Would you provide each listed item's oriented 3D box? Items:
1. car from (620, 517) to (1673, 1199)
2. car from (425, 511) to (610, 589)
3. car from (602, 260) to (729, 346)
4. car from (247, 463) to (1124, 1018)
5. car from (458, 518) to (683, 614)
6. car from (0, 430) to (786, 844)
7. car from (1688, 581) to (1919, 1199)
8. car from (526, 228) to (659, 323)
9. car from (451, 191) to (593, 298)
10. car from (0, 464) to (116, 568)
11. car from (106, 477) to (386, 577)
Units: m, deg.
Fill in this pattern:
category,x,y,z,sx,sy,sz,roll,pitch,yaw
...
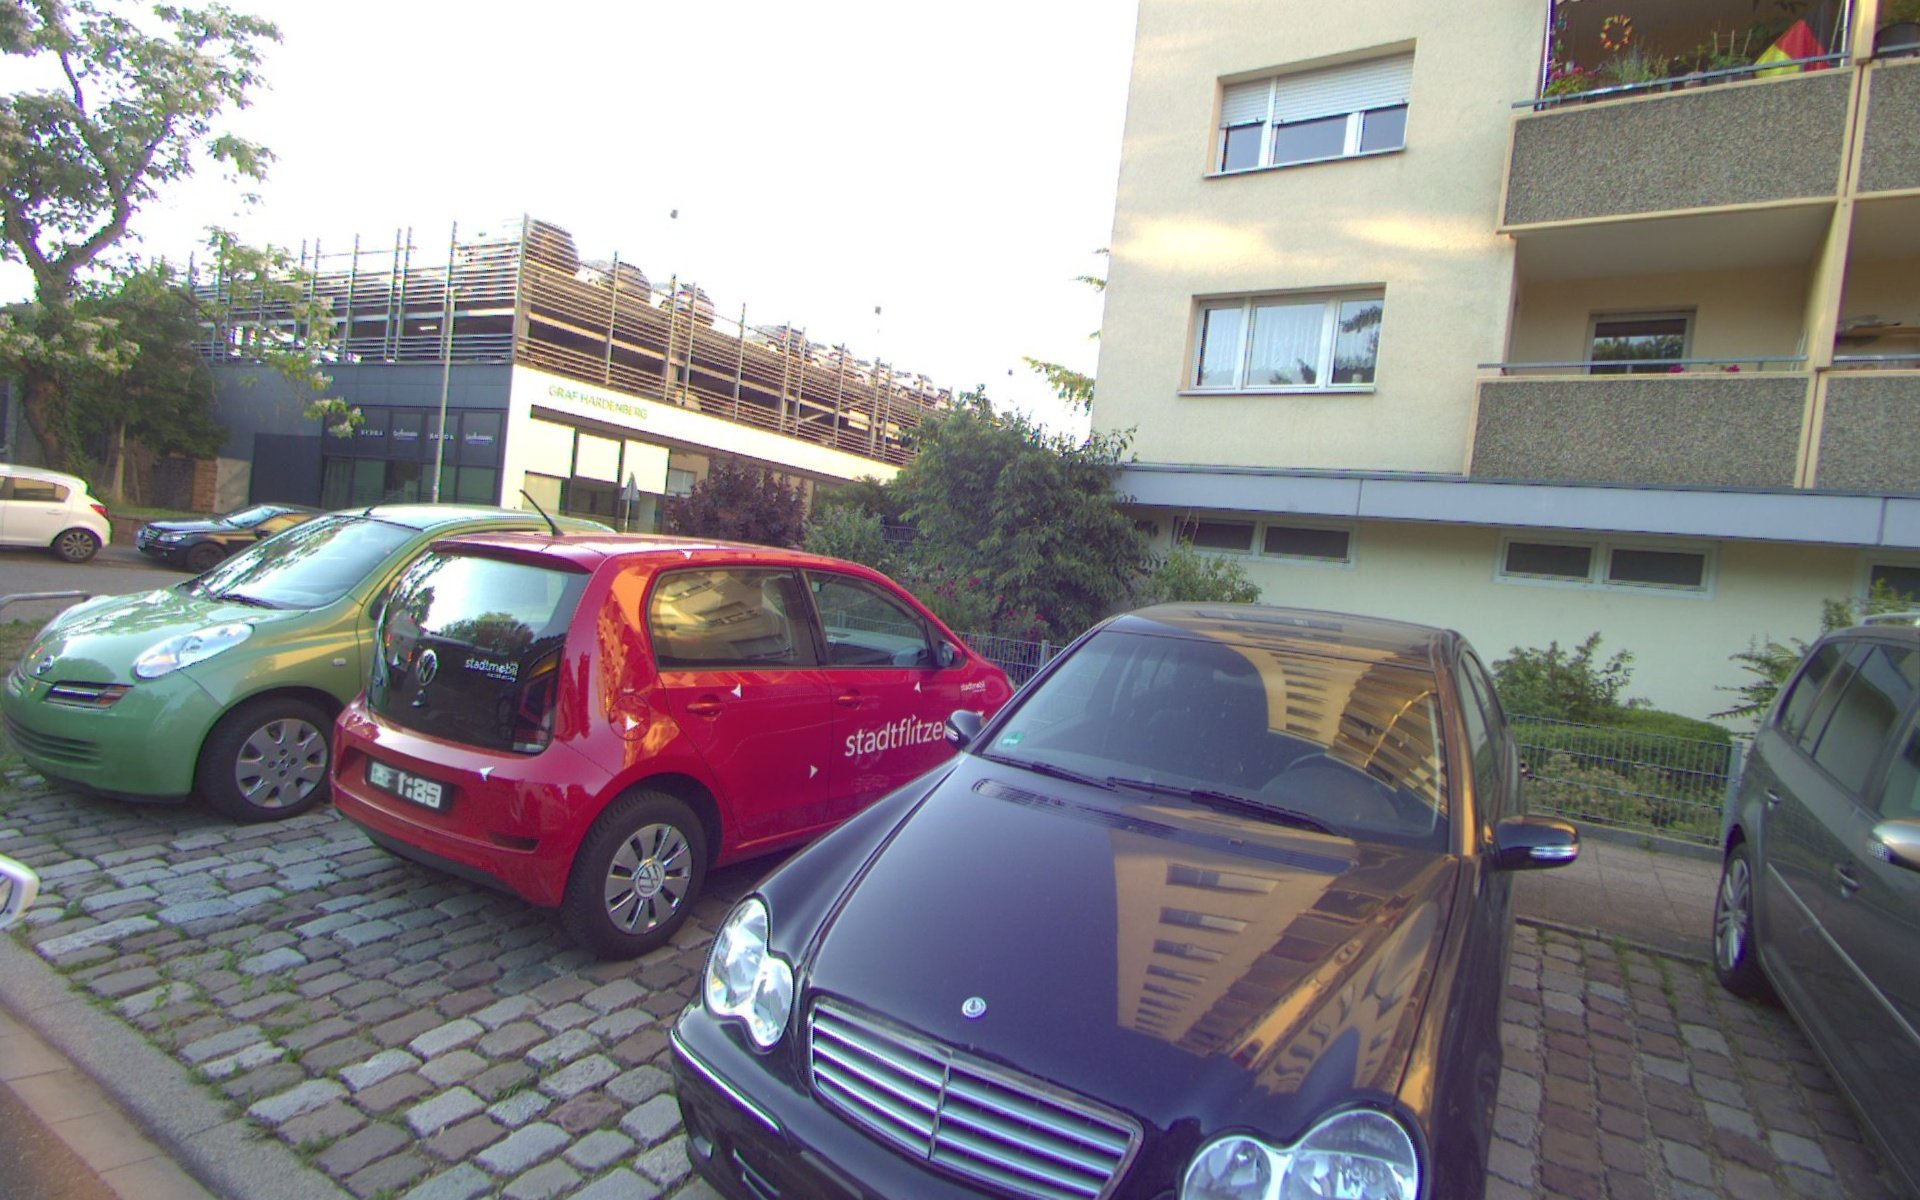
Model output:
category,x,y,z,sx,sy,sz,roll,pitch,yaw
car,1.120,0.709,3.728,1.814,1.551,4.407,5,1,28
car,-11.030,-1.206,25.289,1.794,1.523,3.835,7,2,35
car,-10.124,-10.106,34.502,3.938,2.039,1.994,7,0,36
car,-0.911,0.343,5.390,1.815,1.655,4.398,7,5,32
car,-7.781,-0.637,20.403,1.794,1.544,3.835,7,2,35
car,-3.242,0.140,6.375,1.814,1.653,4.408,5,1,28
car,3.445,0.857,2.597,1.814,1.684,4.405,5,3,28
car,-11.820,-10.329,32.323,3.938,2.039,1.994,7,0,36
car,-13.139,-10.531,30.115,3.938,2.039,1.994,7,0,36
car,-17.055,-1.596,16.918,1.924,1.593,3.861,8,1,28
car,-14.454,-1.425,20.599,1.794,1.523,4.291,7,2,35
